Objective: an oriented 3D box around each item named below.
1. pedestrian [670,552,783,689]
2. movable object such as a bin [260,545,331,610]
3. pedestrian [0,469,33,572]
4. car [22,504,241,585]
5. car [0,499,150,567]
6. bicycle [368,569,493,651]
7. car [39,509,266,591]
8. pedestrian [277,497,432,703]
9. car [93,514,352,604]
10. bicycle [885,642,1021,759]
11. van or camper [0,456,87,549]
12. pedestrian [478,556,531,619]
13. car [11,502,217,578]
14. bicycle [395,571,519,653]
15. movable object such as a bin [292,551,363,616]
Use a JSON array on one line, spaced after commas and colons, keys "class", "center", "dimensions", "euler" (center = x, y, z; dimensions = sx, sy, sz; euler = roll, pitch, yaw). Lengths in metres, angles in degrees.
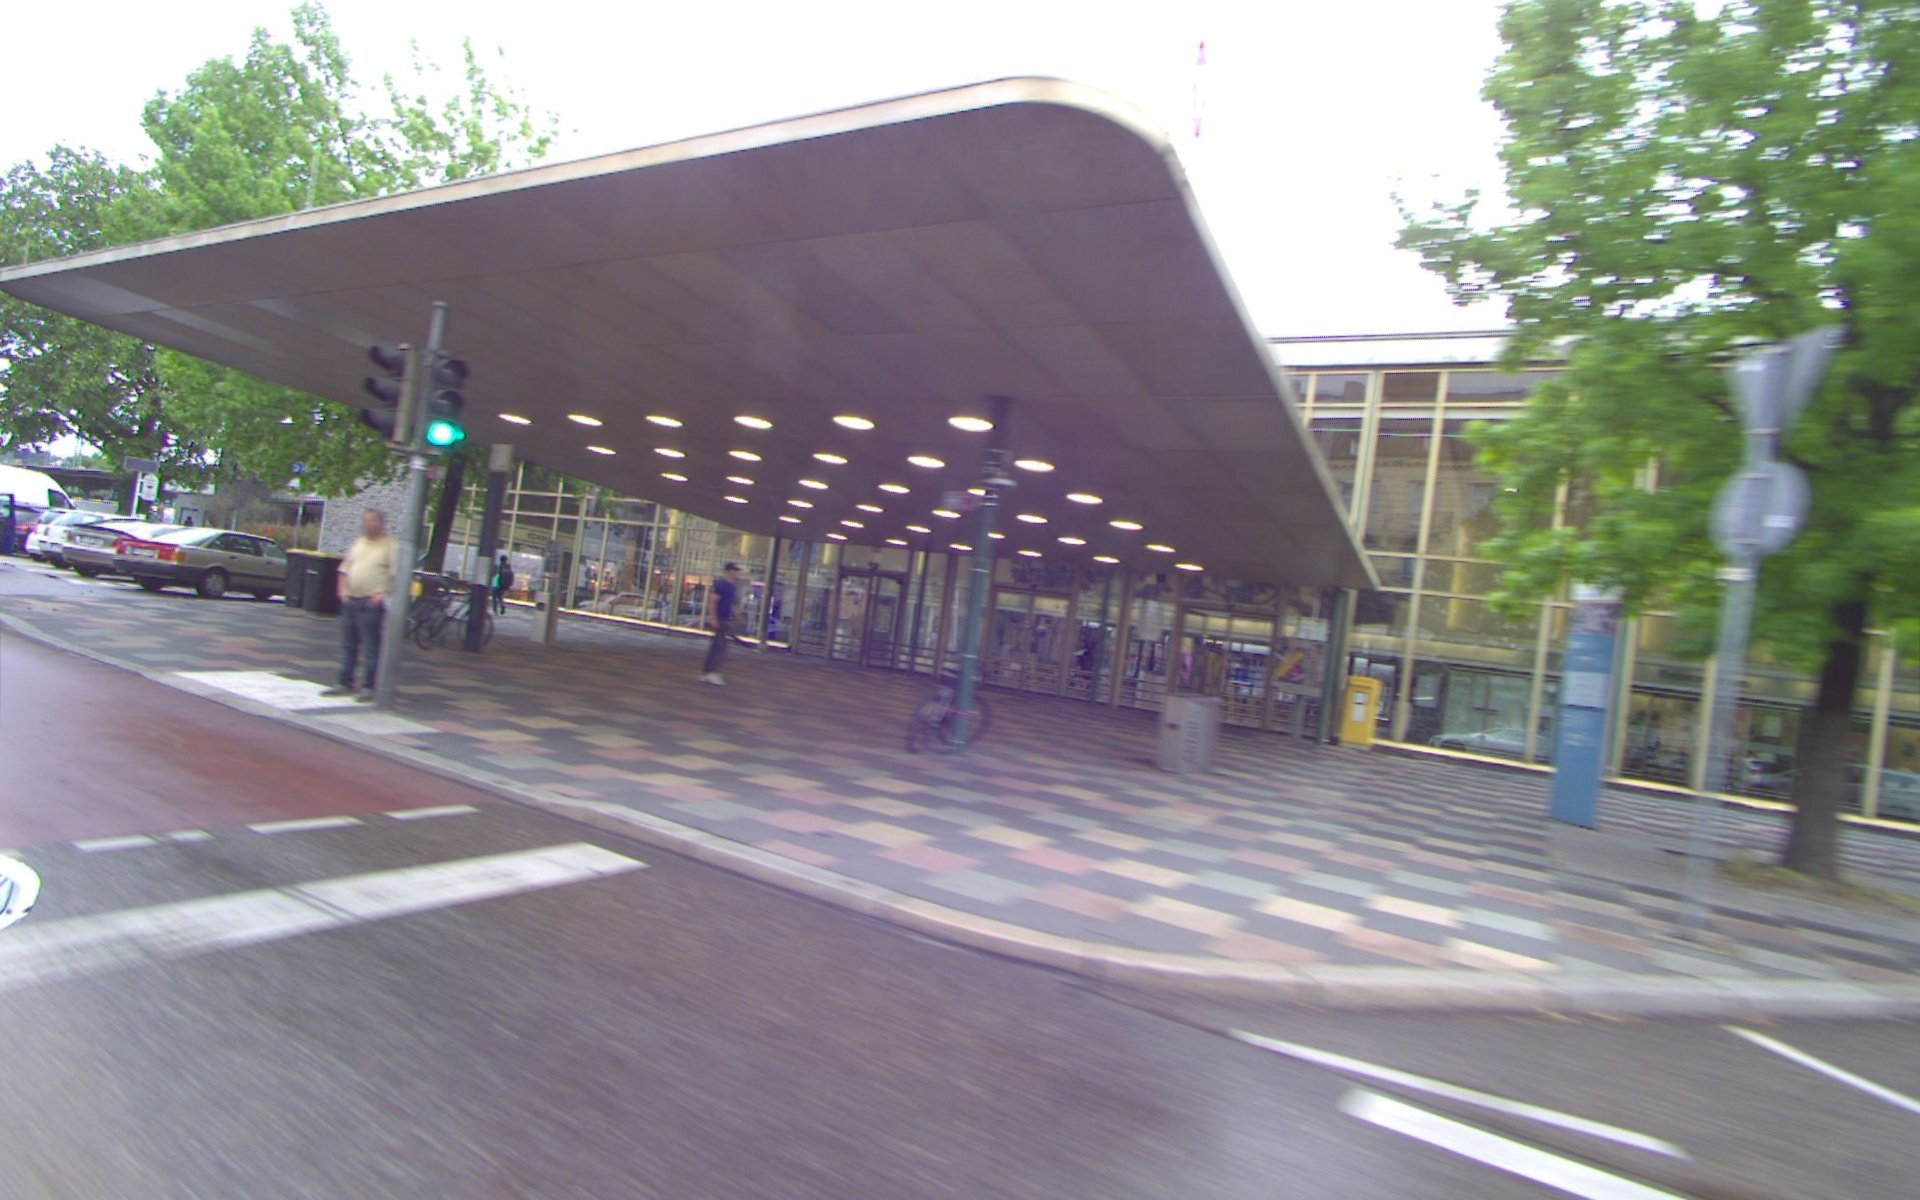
[{"class": "pedestrian", "center": [-3.418, 0.310, 14.746], "dimensions": [1.170, 1.857, 0.857], "euler": [6, 0, 31]}, {"class": "movable object such as a bin", "center": [-12.537, -0.412, 19.003], "dimensions": [0.735, 1.109, 0.753], "euler": [6, 1, 20]}, {"class": "pedestrian", "center": [-19.829, -1.666, 20.638], "dimensions": [0.874, 2.039, 0.832], "euler": [7, 1, 27]}, {"class": "car", "center": [-20.489, -1.308, 25.128], "dimensions": [1.829, 1.460, 4.004], "euler": [7, -1, 6]}, {"class": "car", "center": [-25.306, -1.879, 28.060], "dimensions": [1.829, 1.460, 4.004], "euler": [7, -1, 6]}, {"class": "bicycle", "center": [-7.648, 0.164, 14.619], "dimensions": [0.412, 1.069, 1.834], "euler": [6, 0, 14]}, {"class": "car", "center": [-18.437, -1.071, 23.258], "dimensions": [1.830, 1.375, 4.002], "euler": [7, -1, 2]}, {"class": "pedestrian", "center": [-5.603, 0.006, 9.326], "dimensions": [0.821, 1.768, 0.748], "euler": [6, 0, 24]}, {"class": "car", "center": [-15.403, -0.784, 21.331], "dimensions": [1.805, 1.341, 4.203], "euler": [6, -2, 12]}, {"class": "bicycle", "center": [-0.026, 1.036, 10.432], "dimensions": [0.413, 1.068, 1.830], "euler": [7, -1, 31]}, {"class": "van or camper", "center": [-32.042, -3.362, 32.386], "dimensions": [2.157, 2.797, 5.968], "euler": [6, 0, 5]}, {"class": "pedestrian", "center": [-12.271, -0.340, 27.129], "dimensions": [0.799, 1.578, 0.867], "euler": [7, 1, 25]}, {"class": "car", "center": [-22.657, -1.554, 27.164], "dimensions": [1.829, 1.460, 4.004], "euler": [7, -1, 6]}, {"class": "bicycle", "center": [-7.209, 0.206, 14.519], "dimensions": [0.412, 1.068, 1.835], "euler": [6, -1, 14]}, {"class": "movable object such as a bin", "center": [-11.588, -0.296, 18.438], "dimensions": [0.735, 1.080, 0.753], "euler": [6, 1, 23]}]
